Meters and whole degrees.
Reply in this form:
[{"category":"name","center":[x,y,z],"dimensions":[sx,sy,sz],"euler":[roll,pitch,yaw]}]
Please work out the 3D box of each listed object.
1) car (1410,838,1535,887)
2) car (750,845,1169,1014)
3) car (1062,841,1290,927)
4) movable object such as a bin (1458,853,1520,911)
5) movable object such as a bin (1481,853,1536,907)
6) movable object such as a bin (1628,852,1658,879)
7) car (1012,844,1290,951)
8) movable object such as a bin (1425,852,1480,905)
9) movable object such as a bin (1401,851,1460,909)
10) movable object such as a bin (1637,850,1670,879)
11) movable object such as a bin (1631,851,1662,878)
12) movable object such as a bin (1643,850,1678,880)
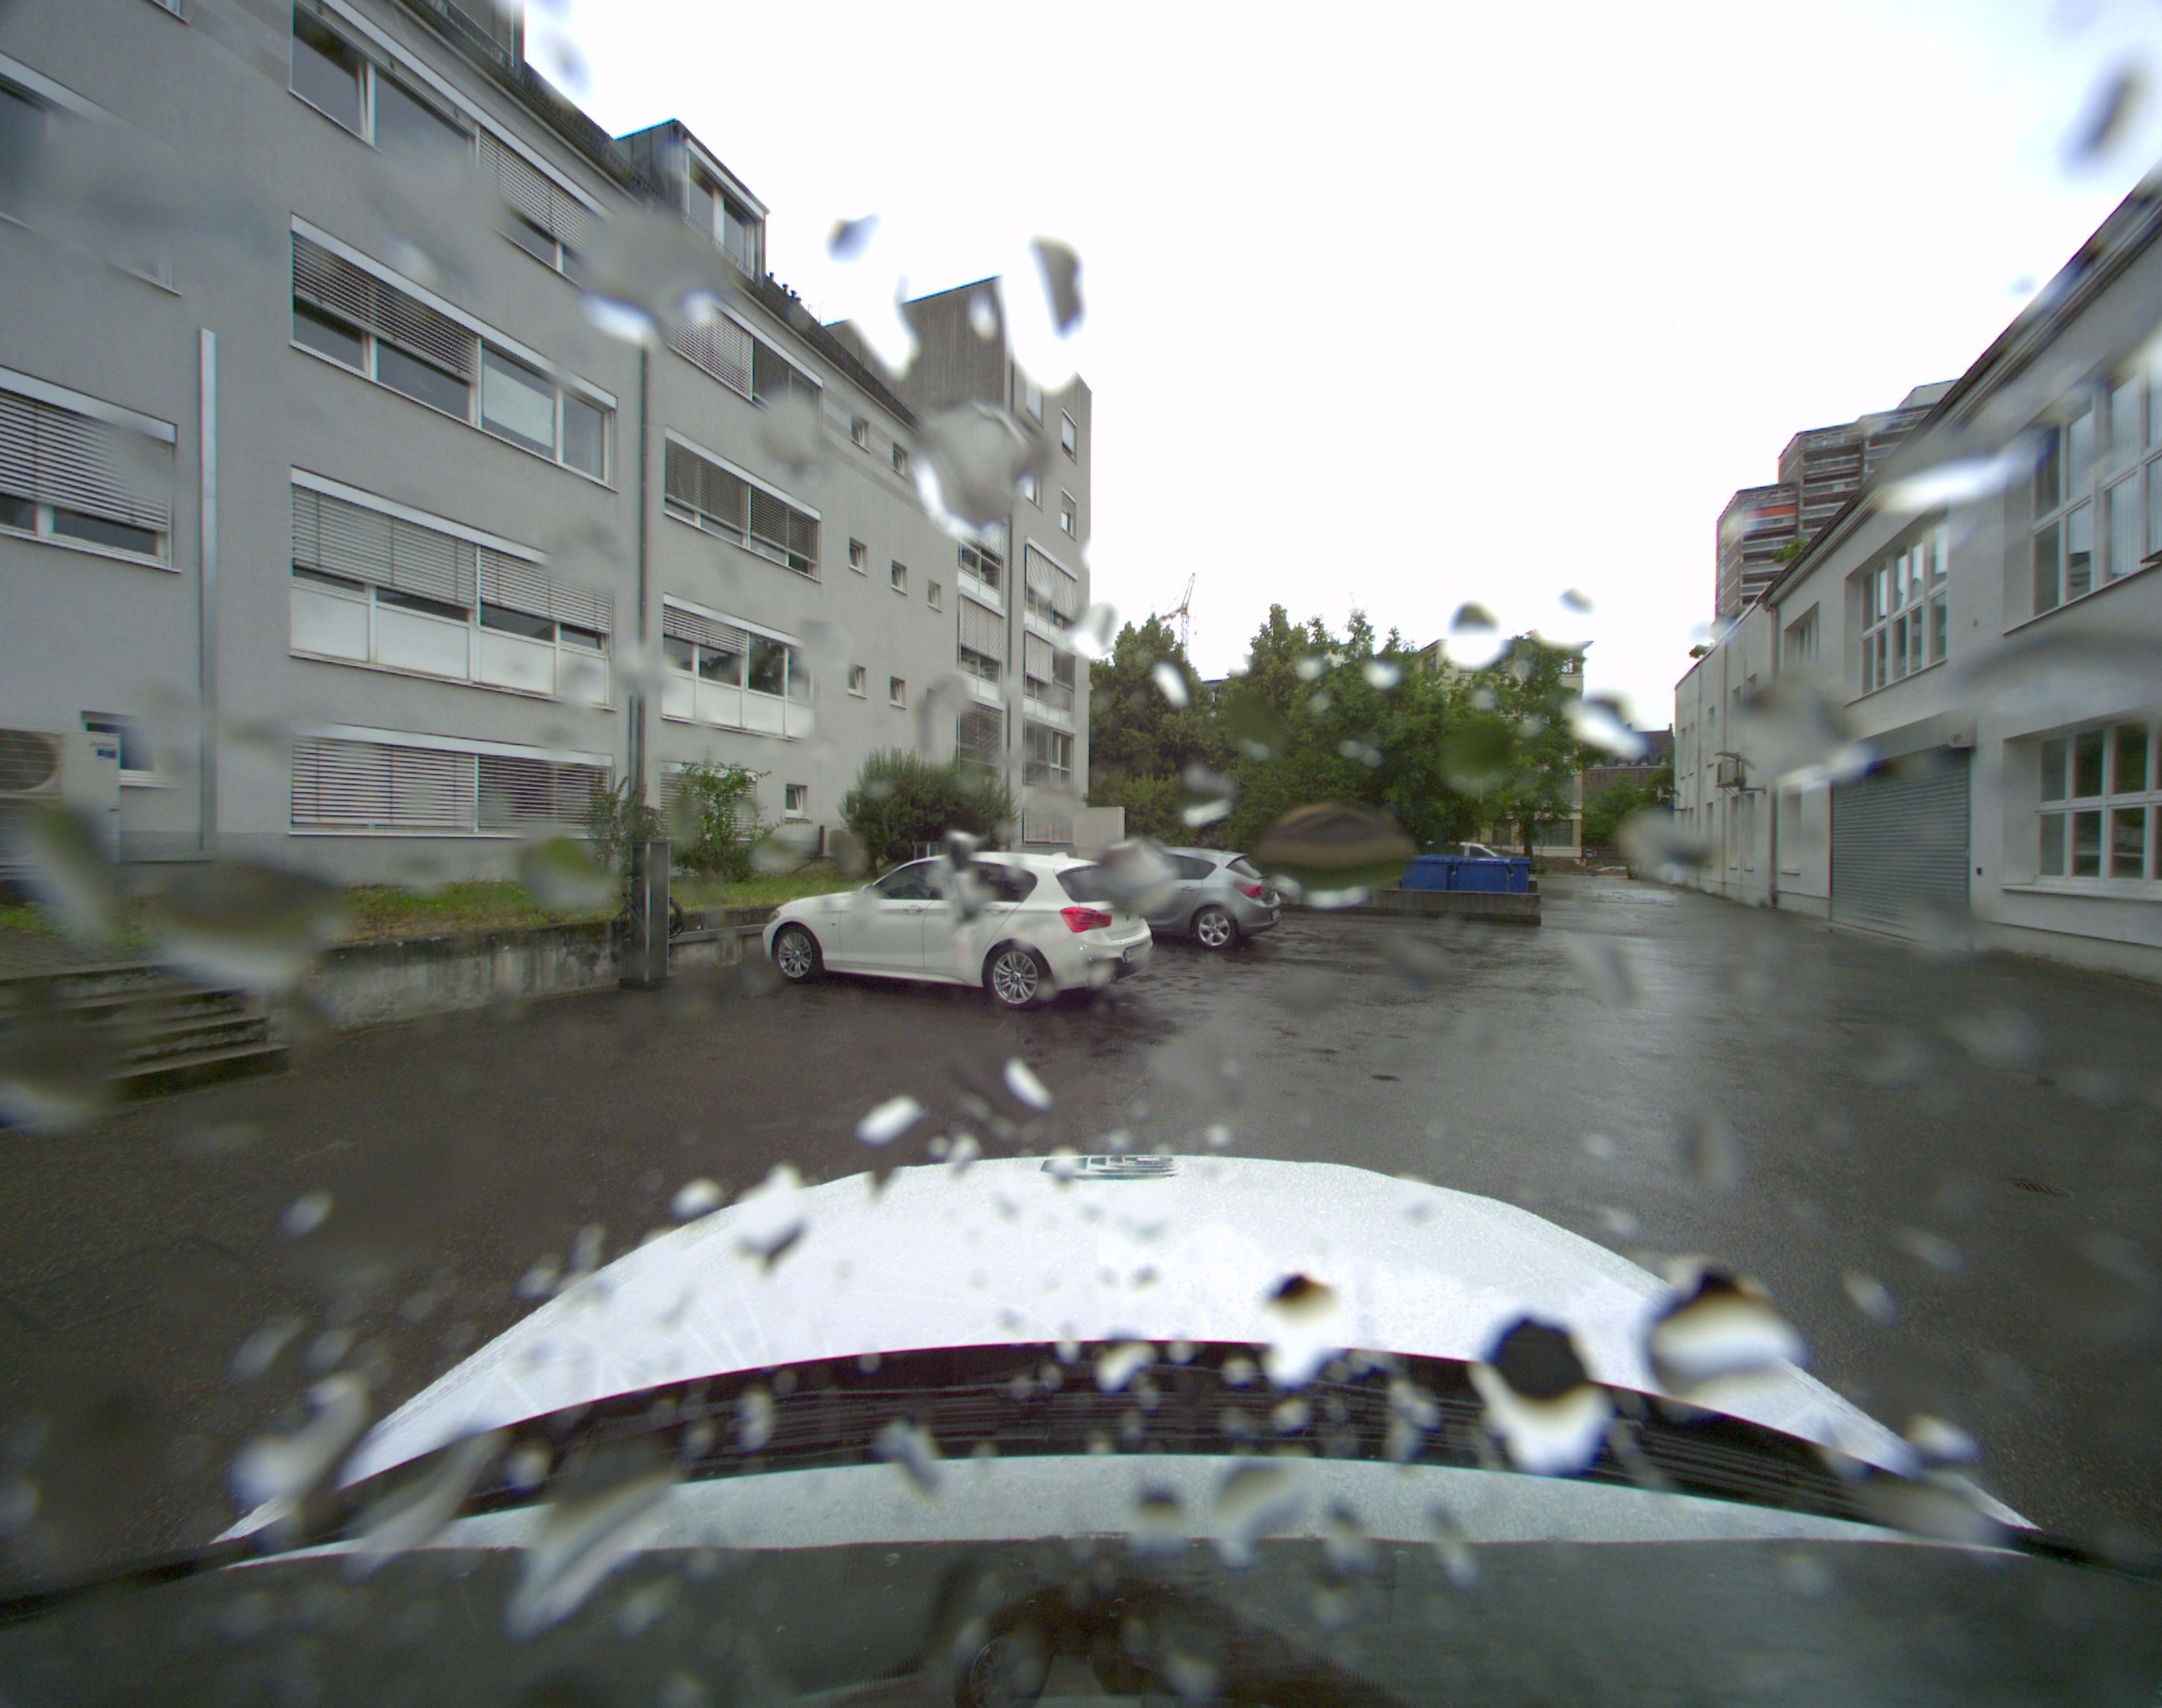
[{"category":"car","center":[17.050,0.338,35.490],"dimensions":[4.735,2.013,2.013],"euler":[0,1,30]},{"category":"car","center":[-1.308,0.651,8.719],"dimensions":[4.102,1.433,1.763],"euler":[1,0,24]},{"category":"car","center":[1.903,0.517,16.374],"dimensions":[4.128,1.333,1.833],"euler":[4,3,25]},{"category":"movable object such as a bin","center":[9.915,0.652,19.773],"dimensions":[1.191,1.337,1.124],"euler":[1,0,34]},{"category":"movable object such as a bin","center":[11.078,0.648,21.097],"dimensions":[1.210,1.337,1.013],"euler":[1,1,30]},{"category":"movable object such as a bin","center":[31.262,0.631,45.331],"dimensions":[1.203,1.437,1.266],"euler":[1,-2,27]},{"category":"car","center":[1.138,0.602,13.280],"dimensions":[4.128,1.483,1.833],"euler":[1,1,24]},{"category":"movable object such as a bin","center":[9.886,0.631,21.657],"dimensions":[1.210,1.337,1.013],"euler":[1,2,30]},{"category":"movable object such as a bin","center":[8.762,0.623,20.395],"dimensions":[1.191,1.336,1.124],"euler":[3,3,30]},{"category":"movable object such as a bin","center":[29.136,0.554,41.463],"dimensions":[1.203,1.437,1.302],"euler":[1,-2,27]},{"category":"movable object such as a bin","center":[30.609,0.583,44.107],"dimensions":[1.203,1.437,1.266],"euler":[1,-2,27]},{"category":"movable object such as a bin","center":[28.395,0.548,39.923],"dimensions":[1.203,1.437,1.243],"euler":[1,-2,27]}]
